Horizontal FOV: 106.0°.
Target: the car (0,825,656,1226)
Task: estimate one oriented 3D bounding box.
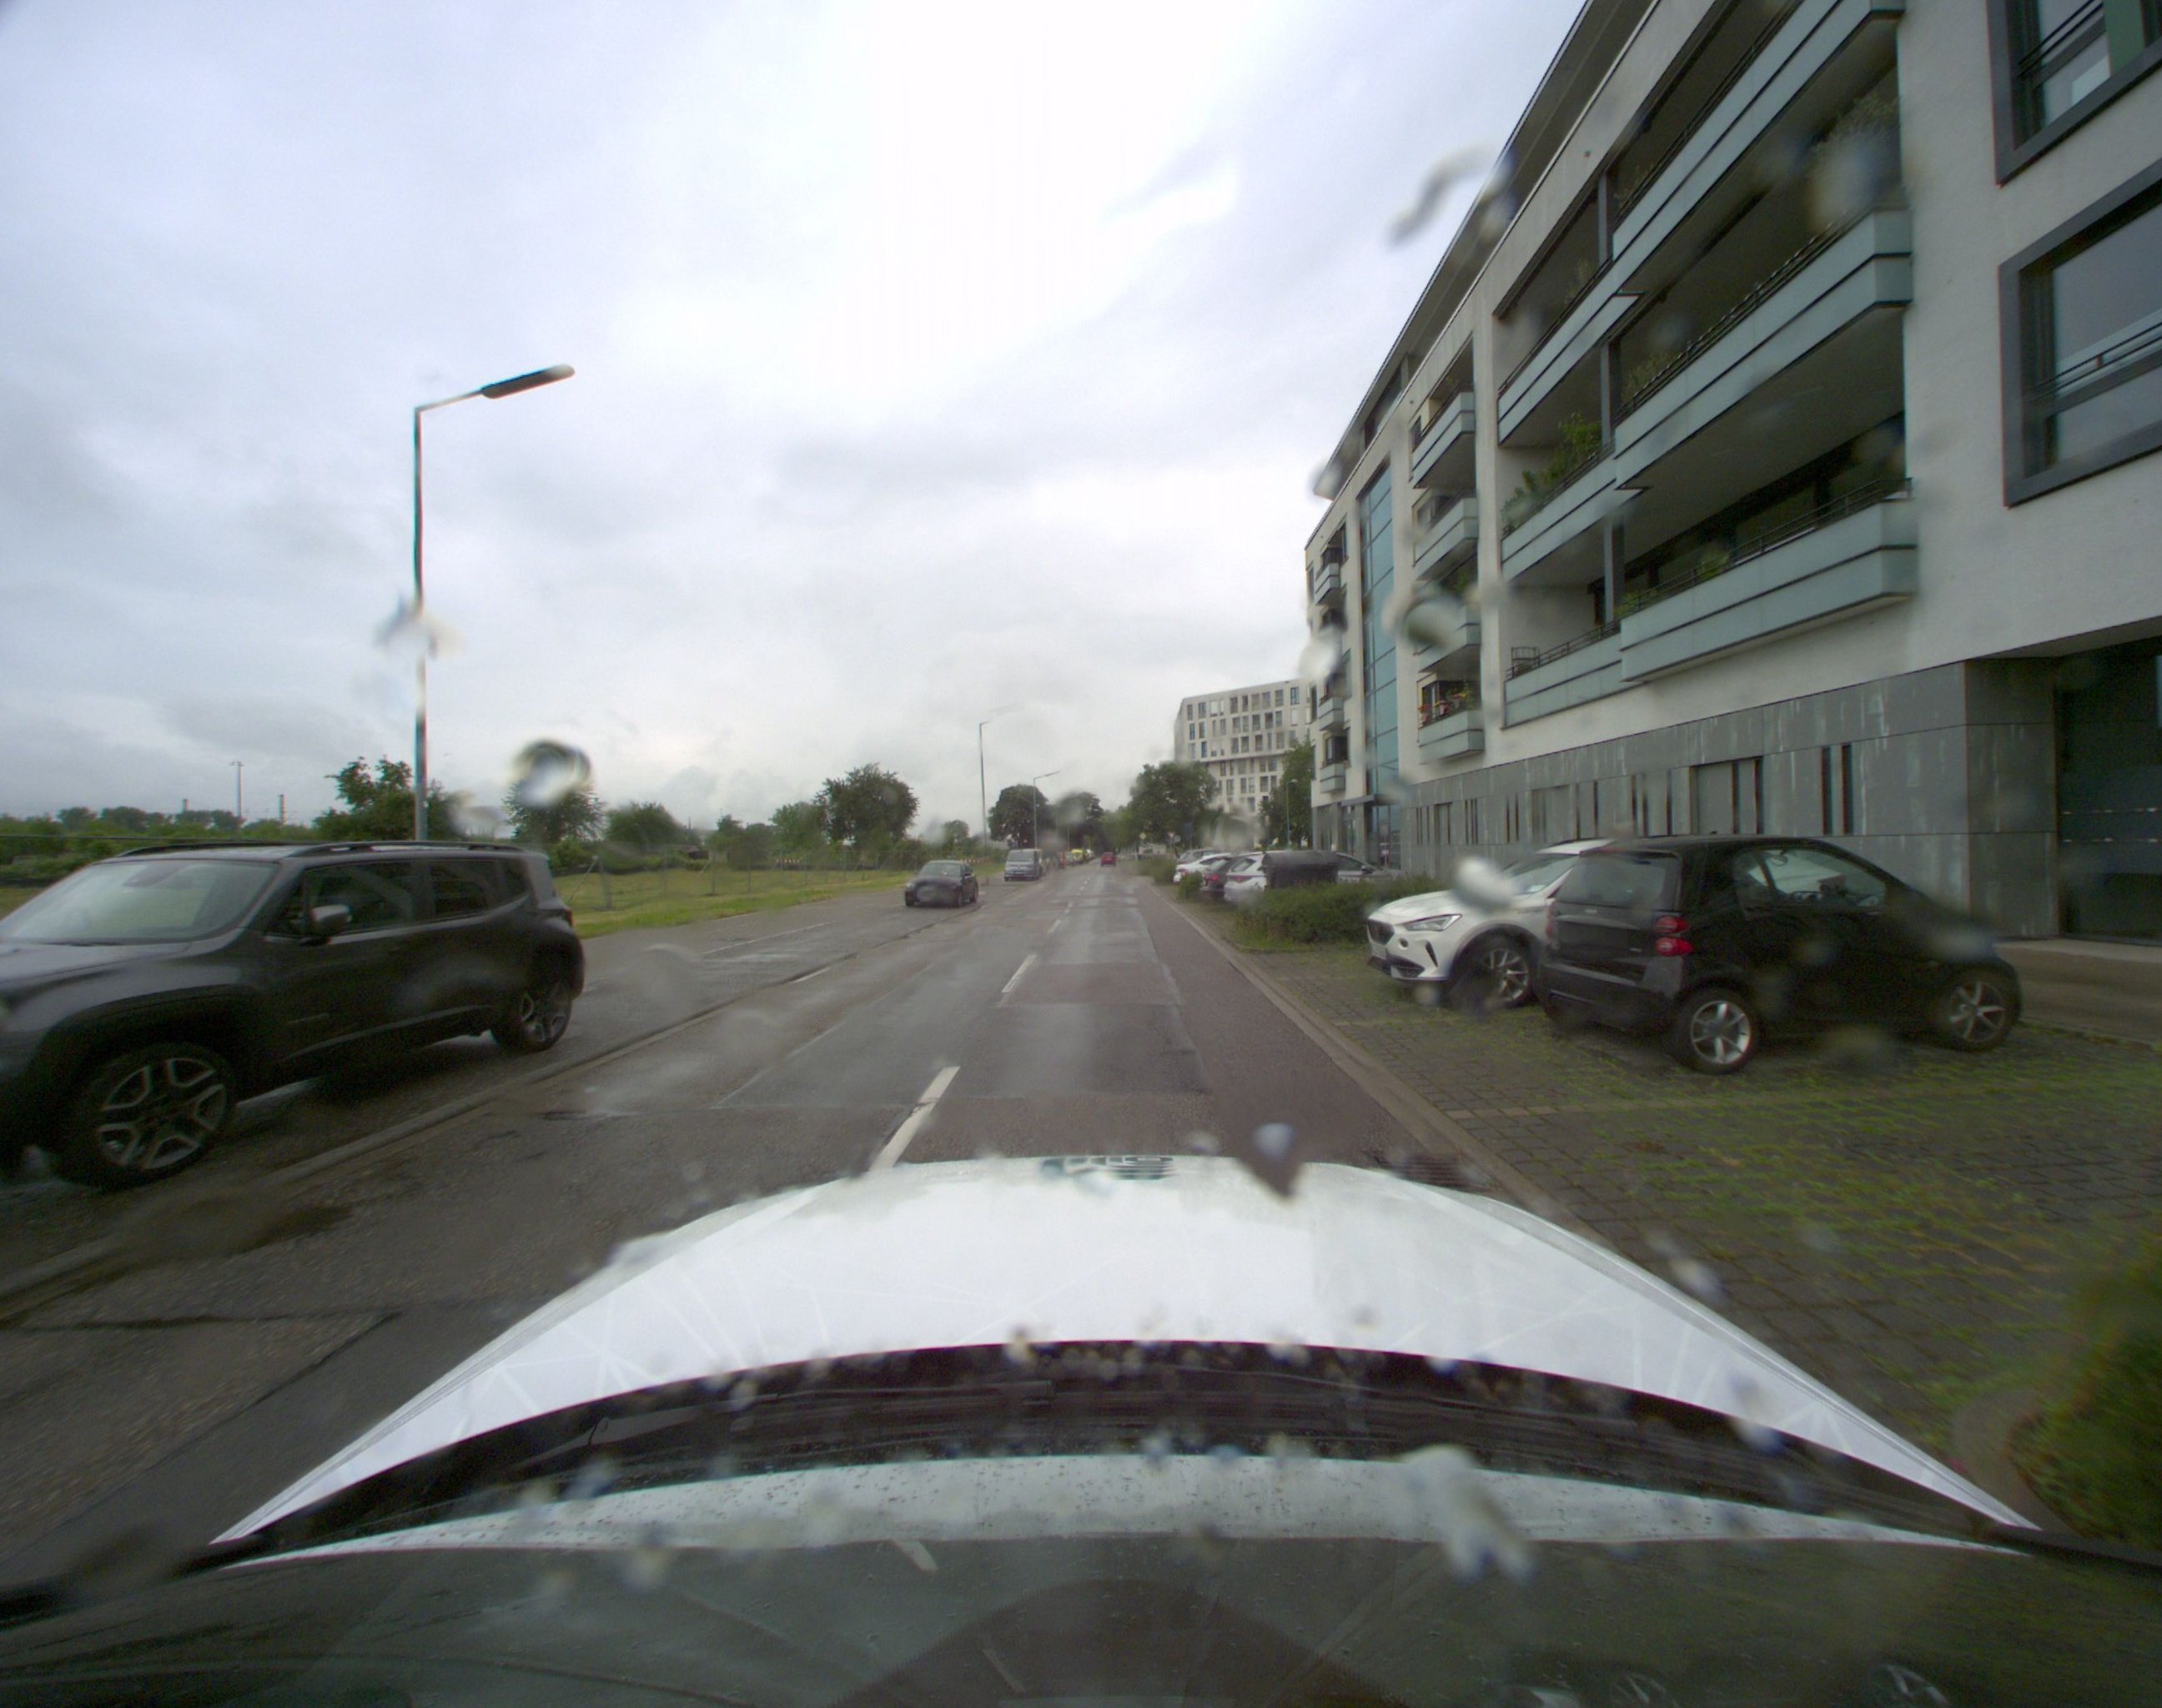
[{"bbox_3d":[-5.262,0.720,5.625,1.744,1.693,4.887,-1,0,5],"label":"car"}]

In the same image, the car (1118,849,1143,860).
[{"bbox_3d":[9.681,0.058,159.643,4.527,1.685,1.885,-6,0,-1],"label":"car"}]

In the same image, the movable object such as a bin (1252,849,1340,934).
[{"bbox_3d":[4.069,0.682,15.557,1.295,1.526,1.582,-1,0,2],"label":"movable object such as a bin"}]

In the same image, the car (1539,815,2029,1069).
[{"bbox_3d":[5.038,0.566,6.008,2.619,1.506,1.205,-3,0,-5],"label":"car"}]

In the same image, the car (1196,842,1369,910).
[{"bbox_3d":[5.190,0.549,21.426,4.045,1.496,2.059,-3,0,2],"label":"car"}]

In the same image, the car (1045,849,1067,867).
[{"bbox_3d":[-2.692,0.413,87.946,1.931,1.767,4.335,-1,0,4],"label":"car"}]

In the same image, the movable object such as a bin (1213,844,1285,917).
[{"bbox_3d":[3.787,0.581,18.574,1.295,1.526,1.582,-3,0,2],"label":"movable object such as a bin"}]

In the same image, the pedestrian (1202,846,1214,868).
[{"bbox_3d":[11.765,0.268,75.263,0.961,2.013,0.623,-1,0,2],"label":"pedestrian"}]

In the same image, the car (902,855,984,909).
[{"bbox_3d":[-4.445,0.851,26.814,1.840,1.561,4.154,1,0,2],"label":"car"}]

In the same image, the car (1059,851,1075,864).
[{"bbox_3d":[-1.744,0.415,104.827,1.797,1.561,4.035,2,0,2],"label":"car"}]

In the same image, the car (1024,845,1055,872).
[{"bbox_3d":[-3.262,0.366,65.016,1.952,2.058,5.277,0,0,2],"label":"car"}]

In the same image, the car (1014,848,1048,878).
[{"bbox_3d":[-3.564,0.606,59.253,1.887,2.013,5.261,-1,0,2],"label":"car"}]

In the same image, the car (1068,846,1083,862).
[{"bbox_3d":[-0.900,-0.024,141.490,2.182,2.694,6.087,1,0,3],"label":"car"}]

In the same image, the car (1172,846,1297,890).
[{"bbox_3d":[5.781,0.519,31.160,4.393,1.405,1.911,-3,0,1],"label":"car"}]

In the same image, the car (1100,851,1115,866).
[{"bbox_3d":[3.146,0.571,98.780,1.750,1.706,4.001,-1,0,1],"label":"car"}]

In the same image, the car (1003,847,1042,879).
[{"bbox_3d":[-3.638,0.536,51.608,1.948,1.901,4.997,-1,0,2],"label":"car"}]

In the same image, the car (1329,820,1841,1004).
[{"bbox_3d":[5.167,0.560,8.850,4.330,1.530,1.894,-3,0,1],"label":"car"}]

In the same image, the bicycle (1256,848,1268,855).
[{"bbox_3d":[25.867,-0.367,116.166,0.716,1.033,2.086,-2,0,41],"label":"bicycle"}]

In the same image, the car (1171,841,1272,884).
[{"bbox_3d":[6.168,0.361,36.052,4.076,1.623,1.966,-4,0,0],"label":"car"}]

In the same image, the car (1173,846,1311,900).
[{"bbox_3d":[5.061,0.571,26.002,3.973,1.479,1.879,-3,0,0],"label":"car"}]

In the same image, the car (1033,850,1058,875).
[{"bbox_3d":[-3.330,0.739,76.779,1.935,2.236,5.559,-1,0,2],"label":"car"}]

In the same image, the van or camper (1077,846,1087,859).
[{"bbox_3d":[0.306,-0.314,182.100,2.087,2.715,7.573,1,-1,0],"label":"van or camper"}]

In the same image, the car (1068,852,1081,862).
[{"bbox_3d":[-0.970,0.477,129.823,1.987,1.594,5.018,1,0,1],"label":"car"}]

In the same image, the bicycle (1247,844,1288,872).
[{"bbox_3d":[10.584,0.235,46.221,2.168,1.522,0.634,-2,0,22],"label":"bicycle"}]
